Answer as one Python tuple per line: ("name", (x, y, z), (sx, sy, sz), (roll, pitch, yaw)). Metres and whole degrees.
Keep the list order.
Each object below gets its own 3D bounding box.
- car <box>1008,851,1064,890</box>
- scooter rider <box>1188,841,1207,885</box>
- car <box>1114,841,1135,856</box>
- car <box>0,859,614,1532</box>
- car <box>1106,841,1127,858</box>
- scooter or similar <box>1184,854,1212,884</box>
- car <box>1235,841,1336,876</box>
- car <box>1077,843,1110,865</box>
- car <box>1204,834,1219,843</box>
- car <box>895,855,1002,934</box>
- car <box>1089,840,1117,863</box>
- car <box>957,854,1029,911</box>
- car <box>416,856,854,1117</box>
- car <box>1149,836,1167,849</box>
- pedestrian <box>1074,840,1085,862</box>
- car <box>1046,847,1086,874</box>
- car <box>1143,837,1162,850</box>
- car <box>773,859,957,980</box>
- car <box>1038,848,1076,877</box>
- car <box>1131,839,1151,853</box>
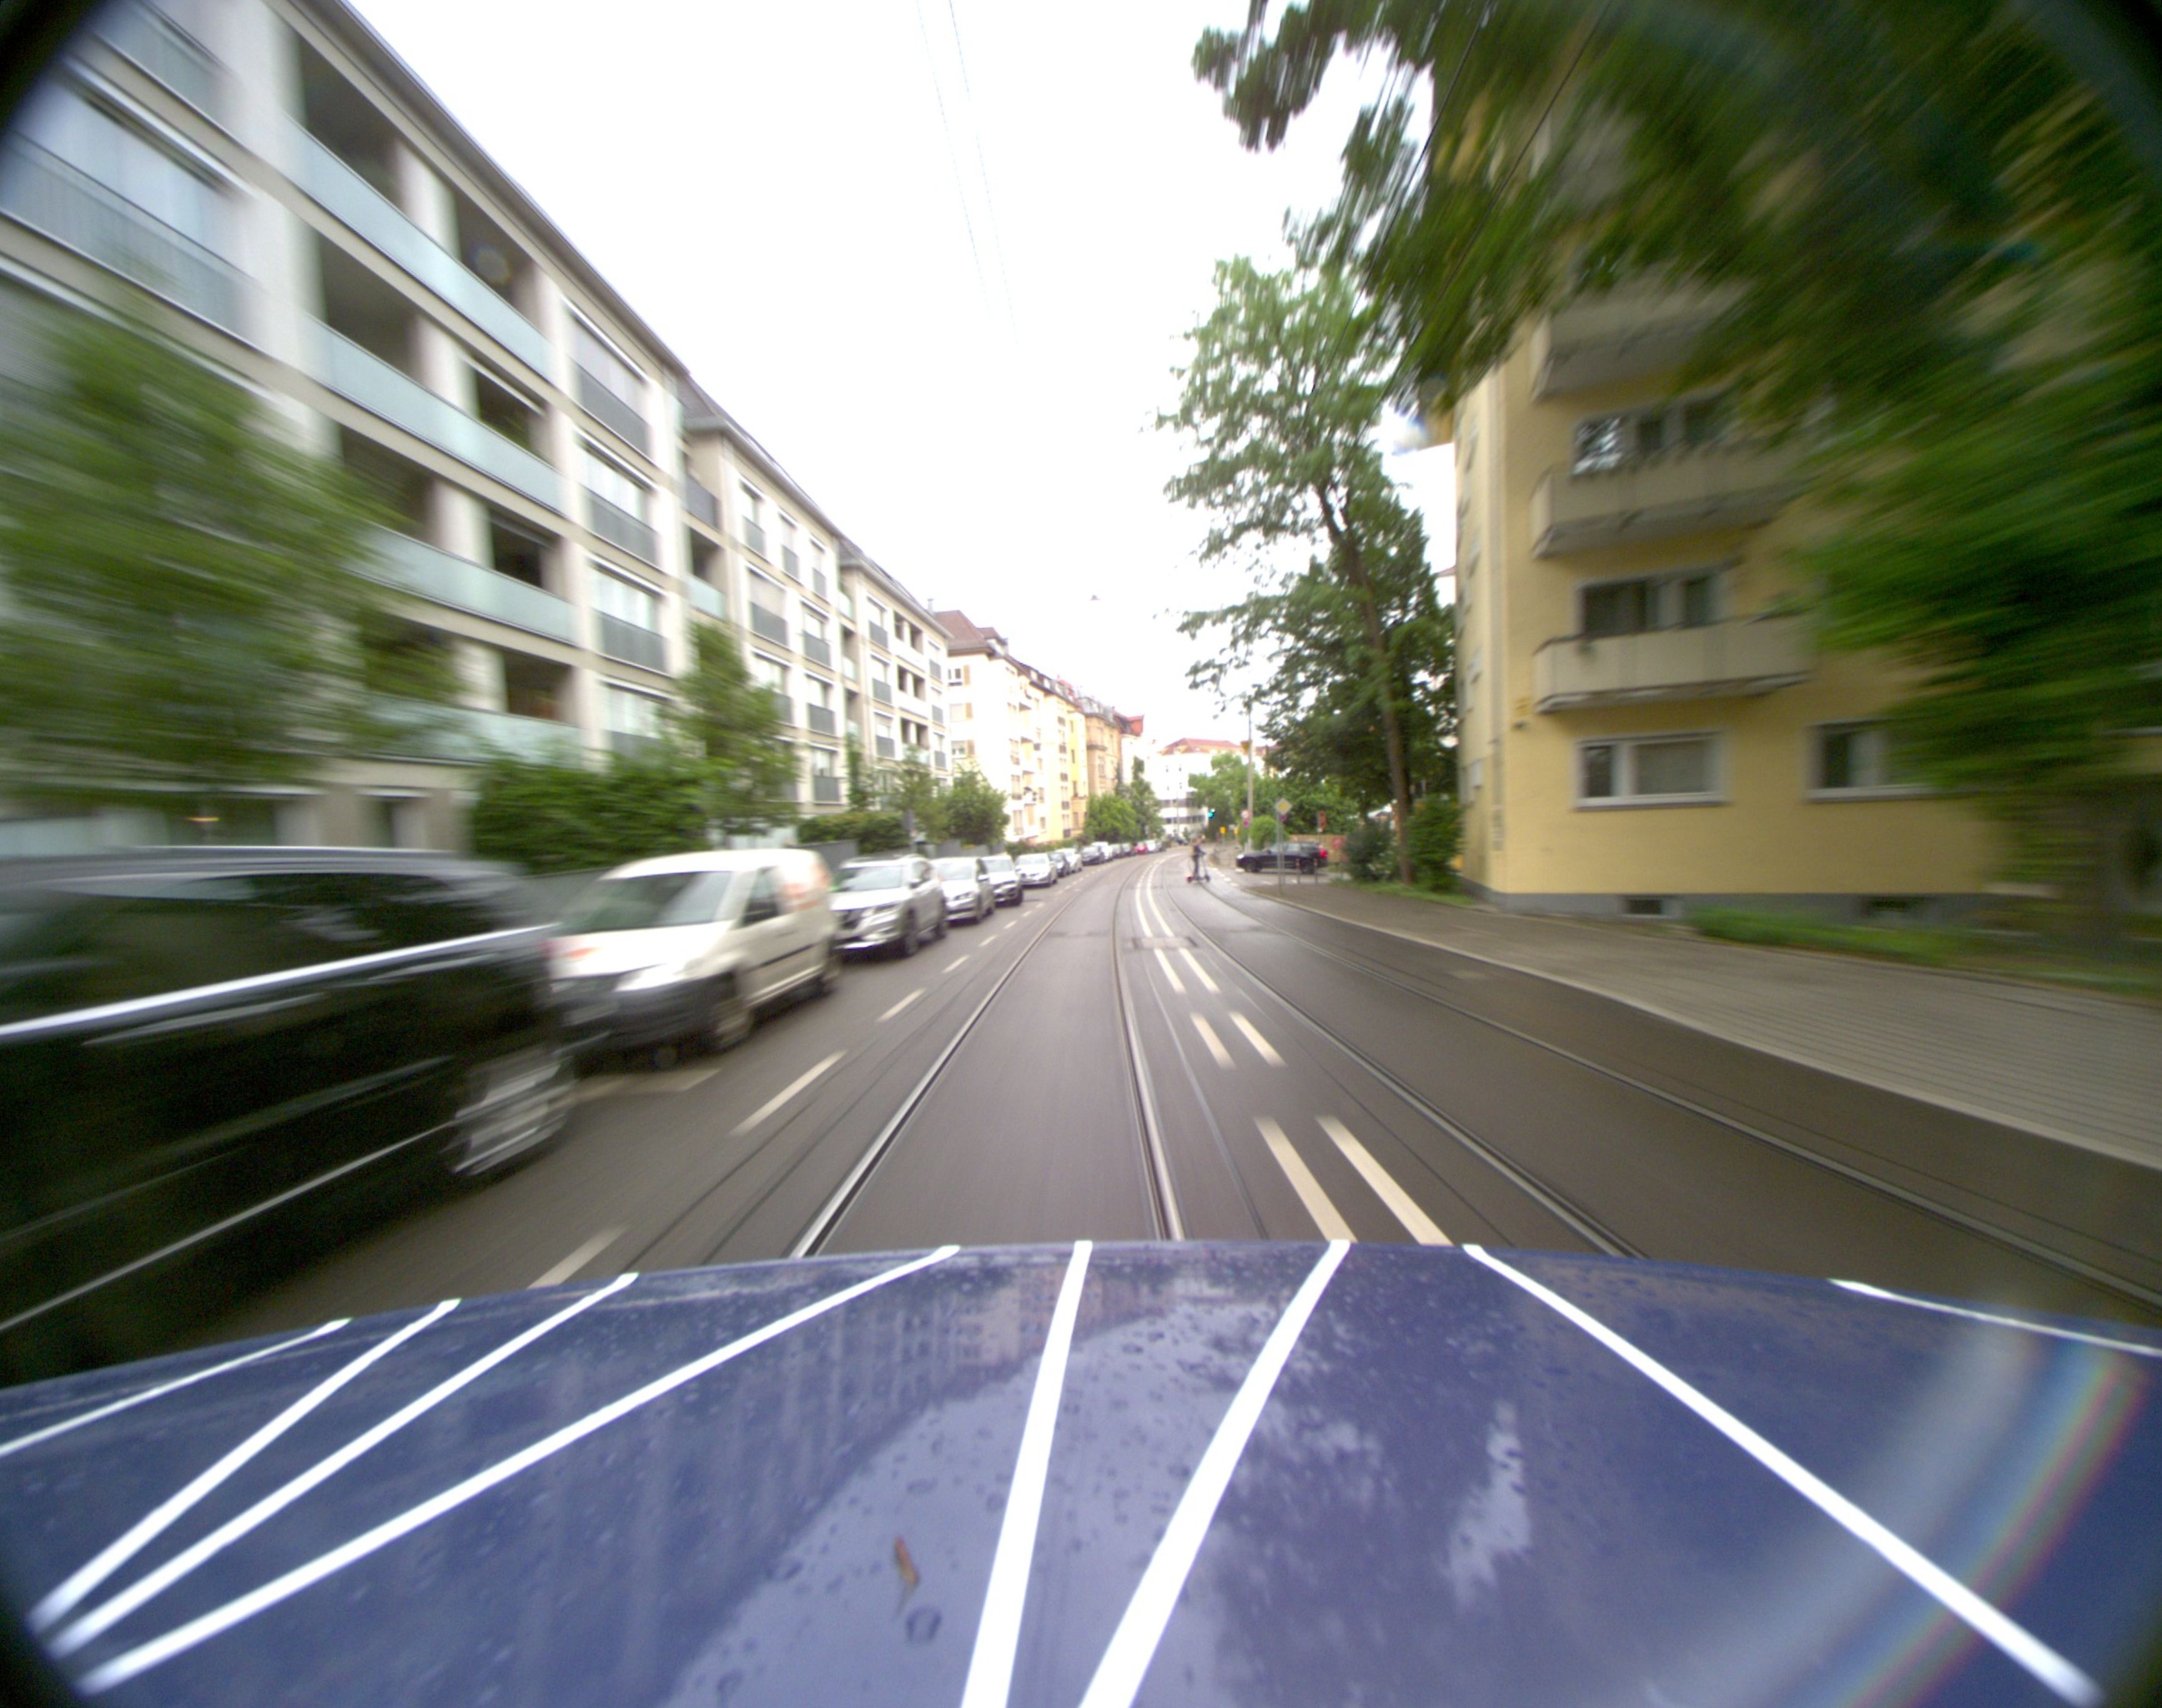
("car", (-2.006, 0.711, 34.977), (1.862, 1.507, 4.790), (-3, 1, 4))
("scooter rider", (4.988, 0.386, 32.562), (0.689, 1.847, 0.645), (-2, 2, -1))
("car", (4.415, -0.600, 77.048), (1.658, 1.360, 3.637), (-4, 1, 10))
("car", (-3.979, 1.017, 2.417), (1.947, 1.785, 4.819), (-4, 1, -1))
("car", (3.391, -0.452, 71.666), (1.590, 1.434, 3.477), (-4, 1, 9))
("scooter or similar", (5.004, 0.642, 32.565), (1.089, 1.254, 0.645), (-2, 2, -1))
("car", (10.613, 0.212, 39.447), (4.759, 1.668, 2.074), (0, 3, 24))
("car", (0.997, -0.004, 58.138), (1.797, 1.444, 4.105), (-4, 1, 11))
("car", (23.823, -2.809, 138.217), (1.796, 1.502, 4.004), (-2, 2, 22))
("car", (-3.247, 0.931, 19.570), (1.836, 1.618, 4.663), (-3, 1, 0))
("car", (1.845, -0.238, 63.051), (1.798, 1.613, 3.869), (-4, 1, 8))
("car", (-2.817, 0.862, 25.282), (1.980, 1.575, 4.564), (-3, 1, -3))
("car", (-3.935, 0.982, 7.816), (1.783, 1.785, 4.470), (-3, 0, 0))
("car", (9.882, -1.473, 97.469), (1.612, 1.434, 3.691), (-4, 1, 15))
("pedestrian", (-0.108, -0.261, 60.762), (0.716, 1.703, 0.665), (0, 2, 12))
("car", (-0.855, 0.356, 47.021), (1.721, 1.458, 4.392), (-3, 1, 8))
("car", (8.736, -1.289, 92.814), (1.612, 1.434, 3.691), (-4, 1, 15))
("car", (-3.663, 1.008, 13.890), (1.836, 1.647, 4.686), (-3, 1, 1))
("car", (-1.308, 0.460, 42.385), (1.599, 1.416, 3.516), (-3, 1, 6))
("car", (6.666, -0.918, 84.430), (1.556, 1.360, 3.126), (-4, 1, 15))
